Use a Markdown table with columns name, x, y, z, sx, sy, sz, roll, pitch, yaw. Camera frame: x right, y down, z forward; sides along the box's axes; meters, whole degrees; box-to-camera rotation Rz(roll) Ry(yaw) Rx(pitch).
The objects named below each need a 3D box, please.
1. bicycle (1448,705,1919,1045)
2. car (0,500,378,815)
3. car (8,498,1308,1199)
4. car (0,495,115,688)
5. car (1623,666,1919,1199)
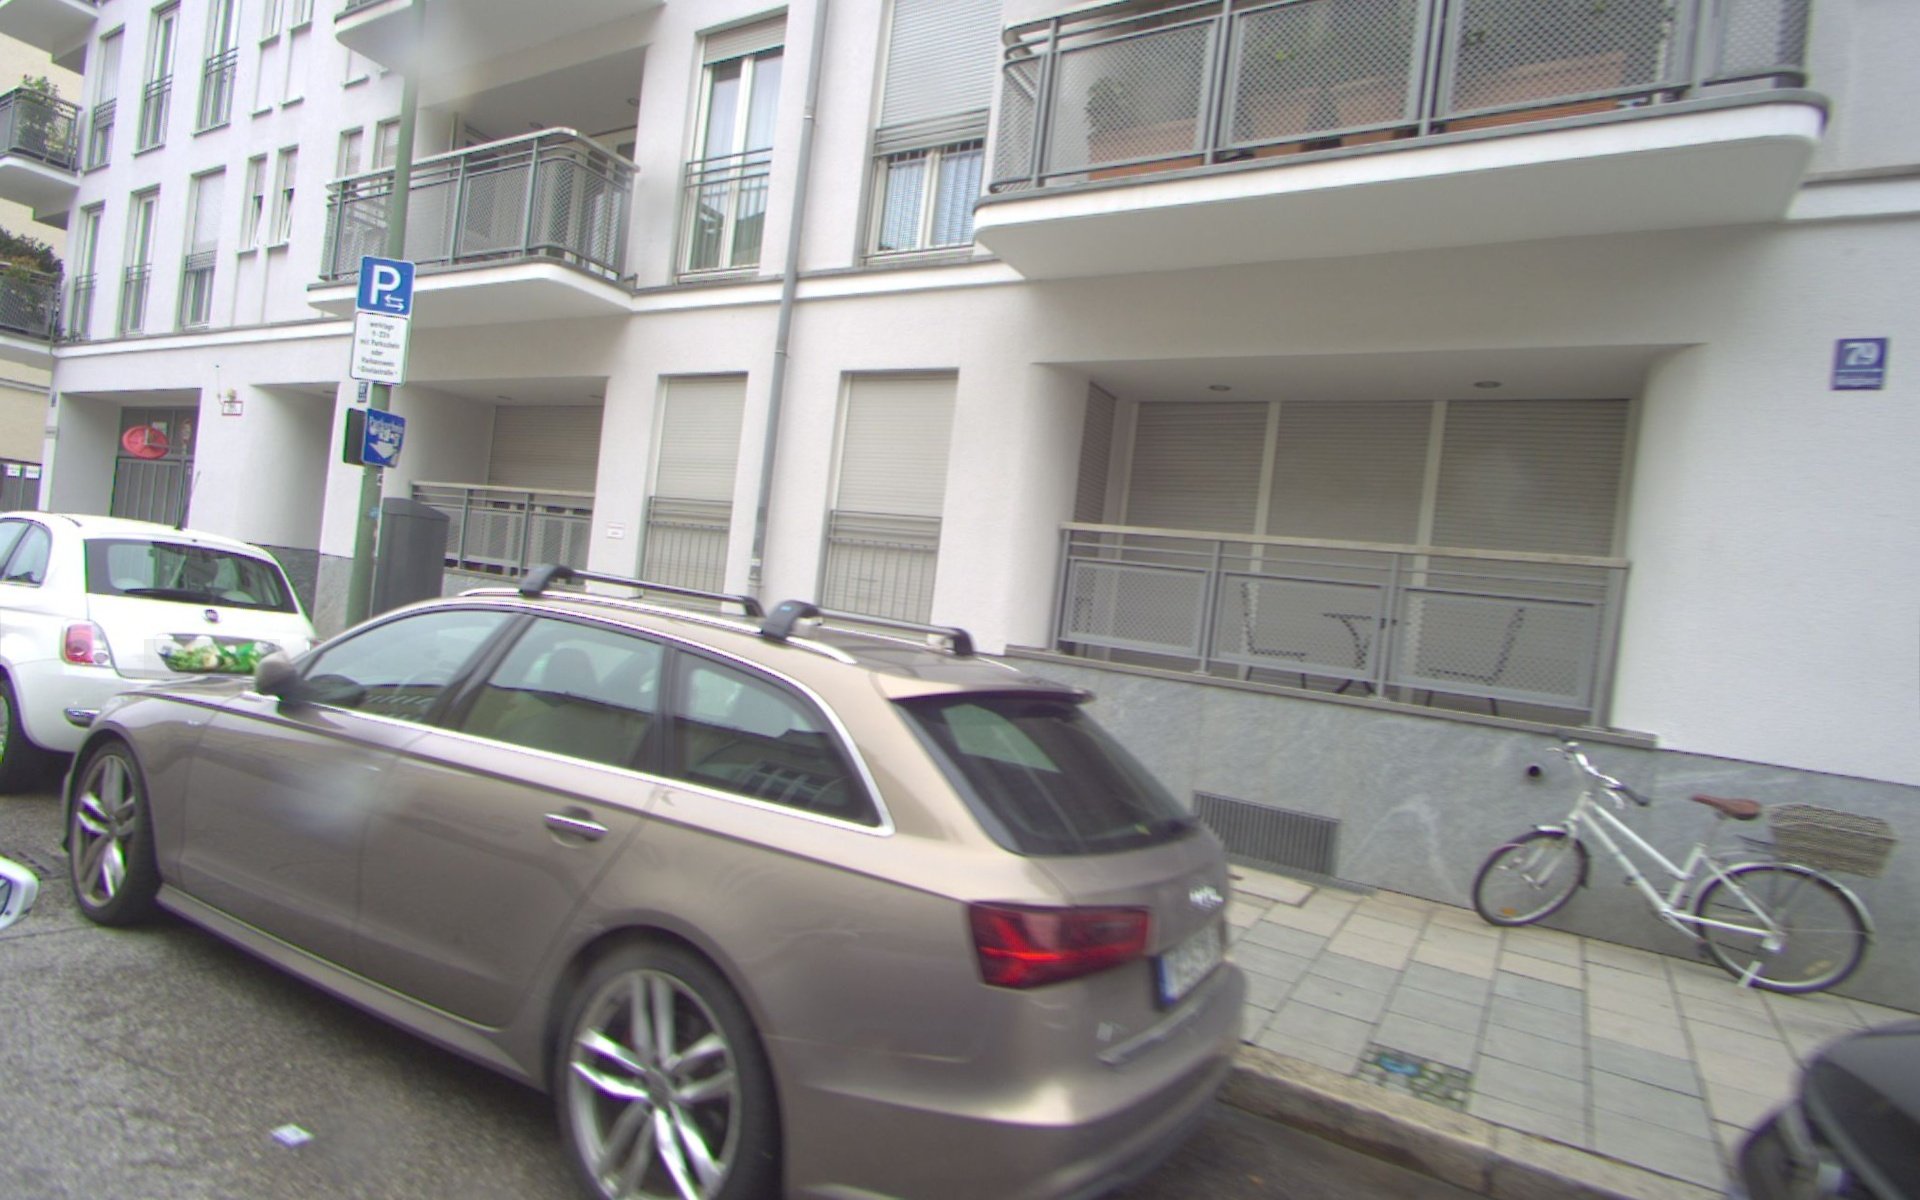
| name | x | y | z | sx | sy | sz | roll | pitch | yaw |
| --- | --- | --- | --- | --- | --- | --- | --- | --- | --- |
| bicycle | 3.445 | 1.220 | 4.885 | 1.780 | 1.113 | 0.569 | 7 | 4 | 32 |
| car | -5.699 | 0.186 | 6.551 | 3.684 | 1.484 | 1.620 | 7 | -1 | 31 |
| car | -1.319 | 0.657 | 3.674 | 4.525 | 1.499 | 1.795 | 7 | -2 | 30 |
| car | -9.468 | -0.298 | 8.743 | 4.145 | 1.493 | 1.775 | 7 | 0 | 29 |
| car | 3.170 | 1.141 | 0.990 | 3.953 | 1.550 | 1.842 | 7 | -2 | 30 |
